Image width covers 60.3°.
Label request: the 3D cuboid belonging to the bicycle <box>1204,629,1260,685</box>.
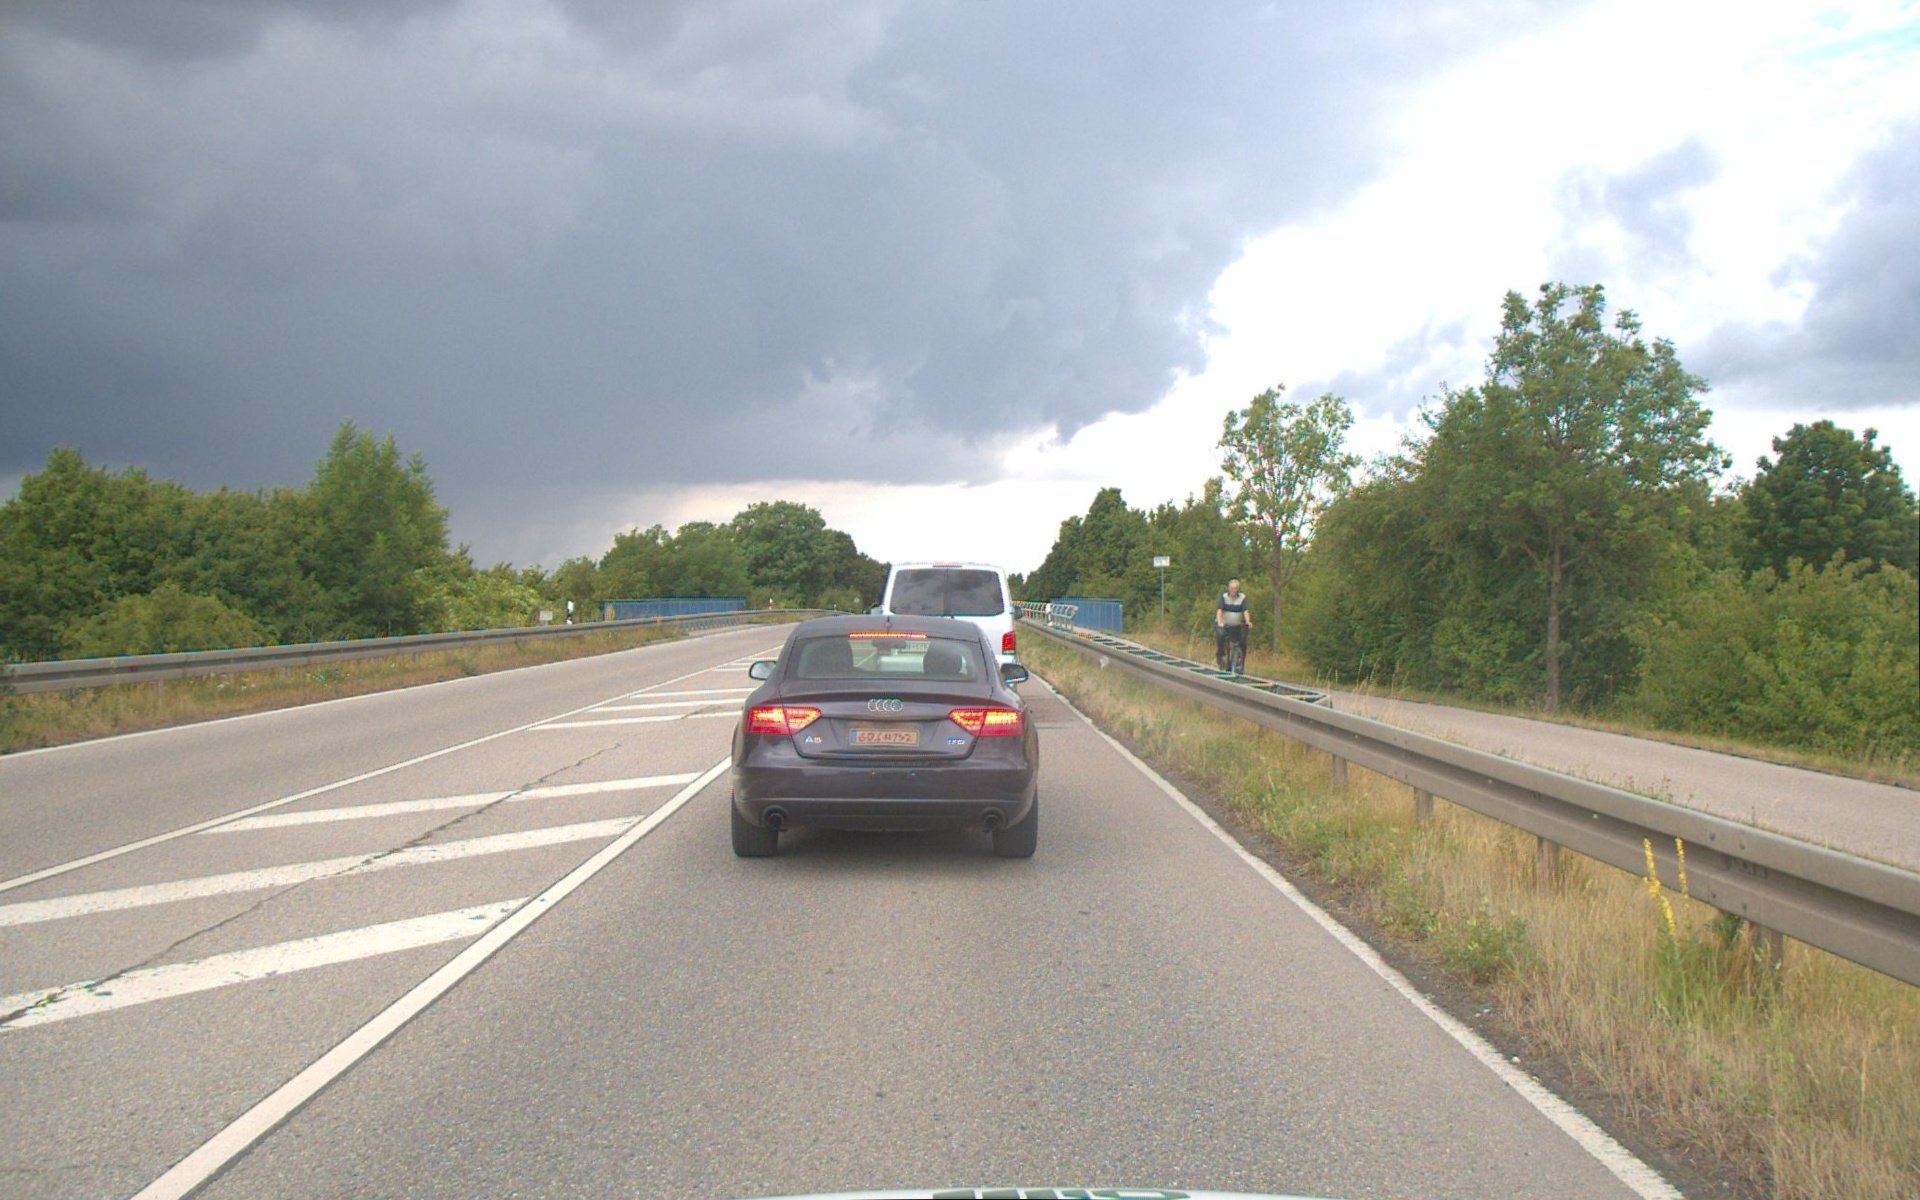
[{"bbox_3d":[4.795,0.990,29.266,0.652,0.936,1.830,0,0,-1],"label":"bicycle"}]

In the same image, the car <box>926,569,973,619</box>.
[{"bbox_3d":[-0.531,-0.307,87.425,2.397,2.548,5.041,1,0,0],"label":"car"}]

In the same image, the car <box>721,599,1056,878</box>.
[{"bbox_3d":[-0.400,0.751,10.750,1.749,1.448,3.999,1,-1,-1],"label":"car"}]

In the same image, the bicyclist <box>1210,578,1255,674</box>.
[{"bbox_3d":[4.800,0.454,29.145,0.634,1.674,0.866,0,0,-1],"label":"bicyclist"}]

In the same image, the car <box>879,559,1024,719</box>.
[{"bbox_3d":[-0.125,0.494,22.182,1.749,1.923,3.999,1,-1,-1],"label":"car"}]
